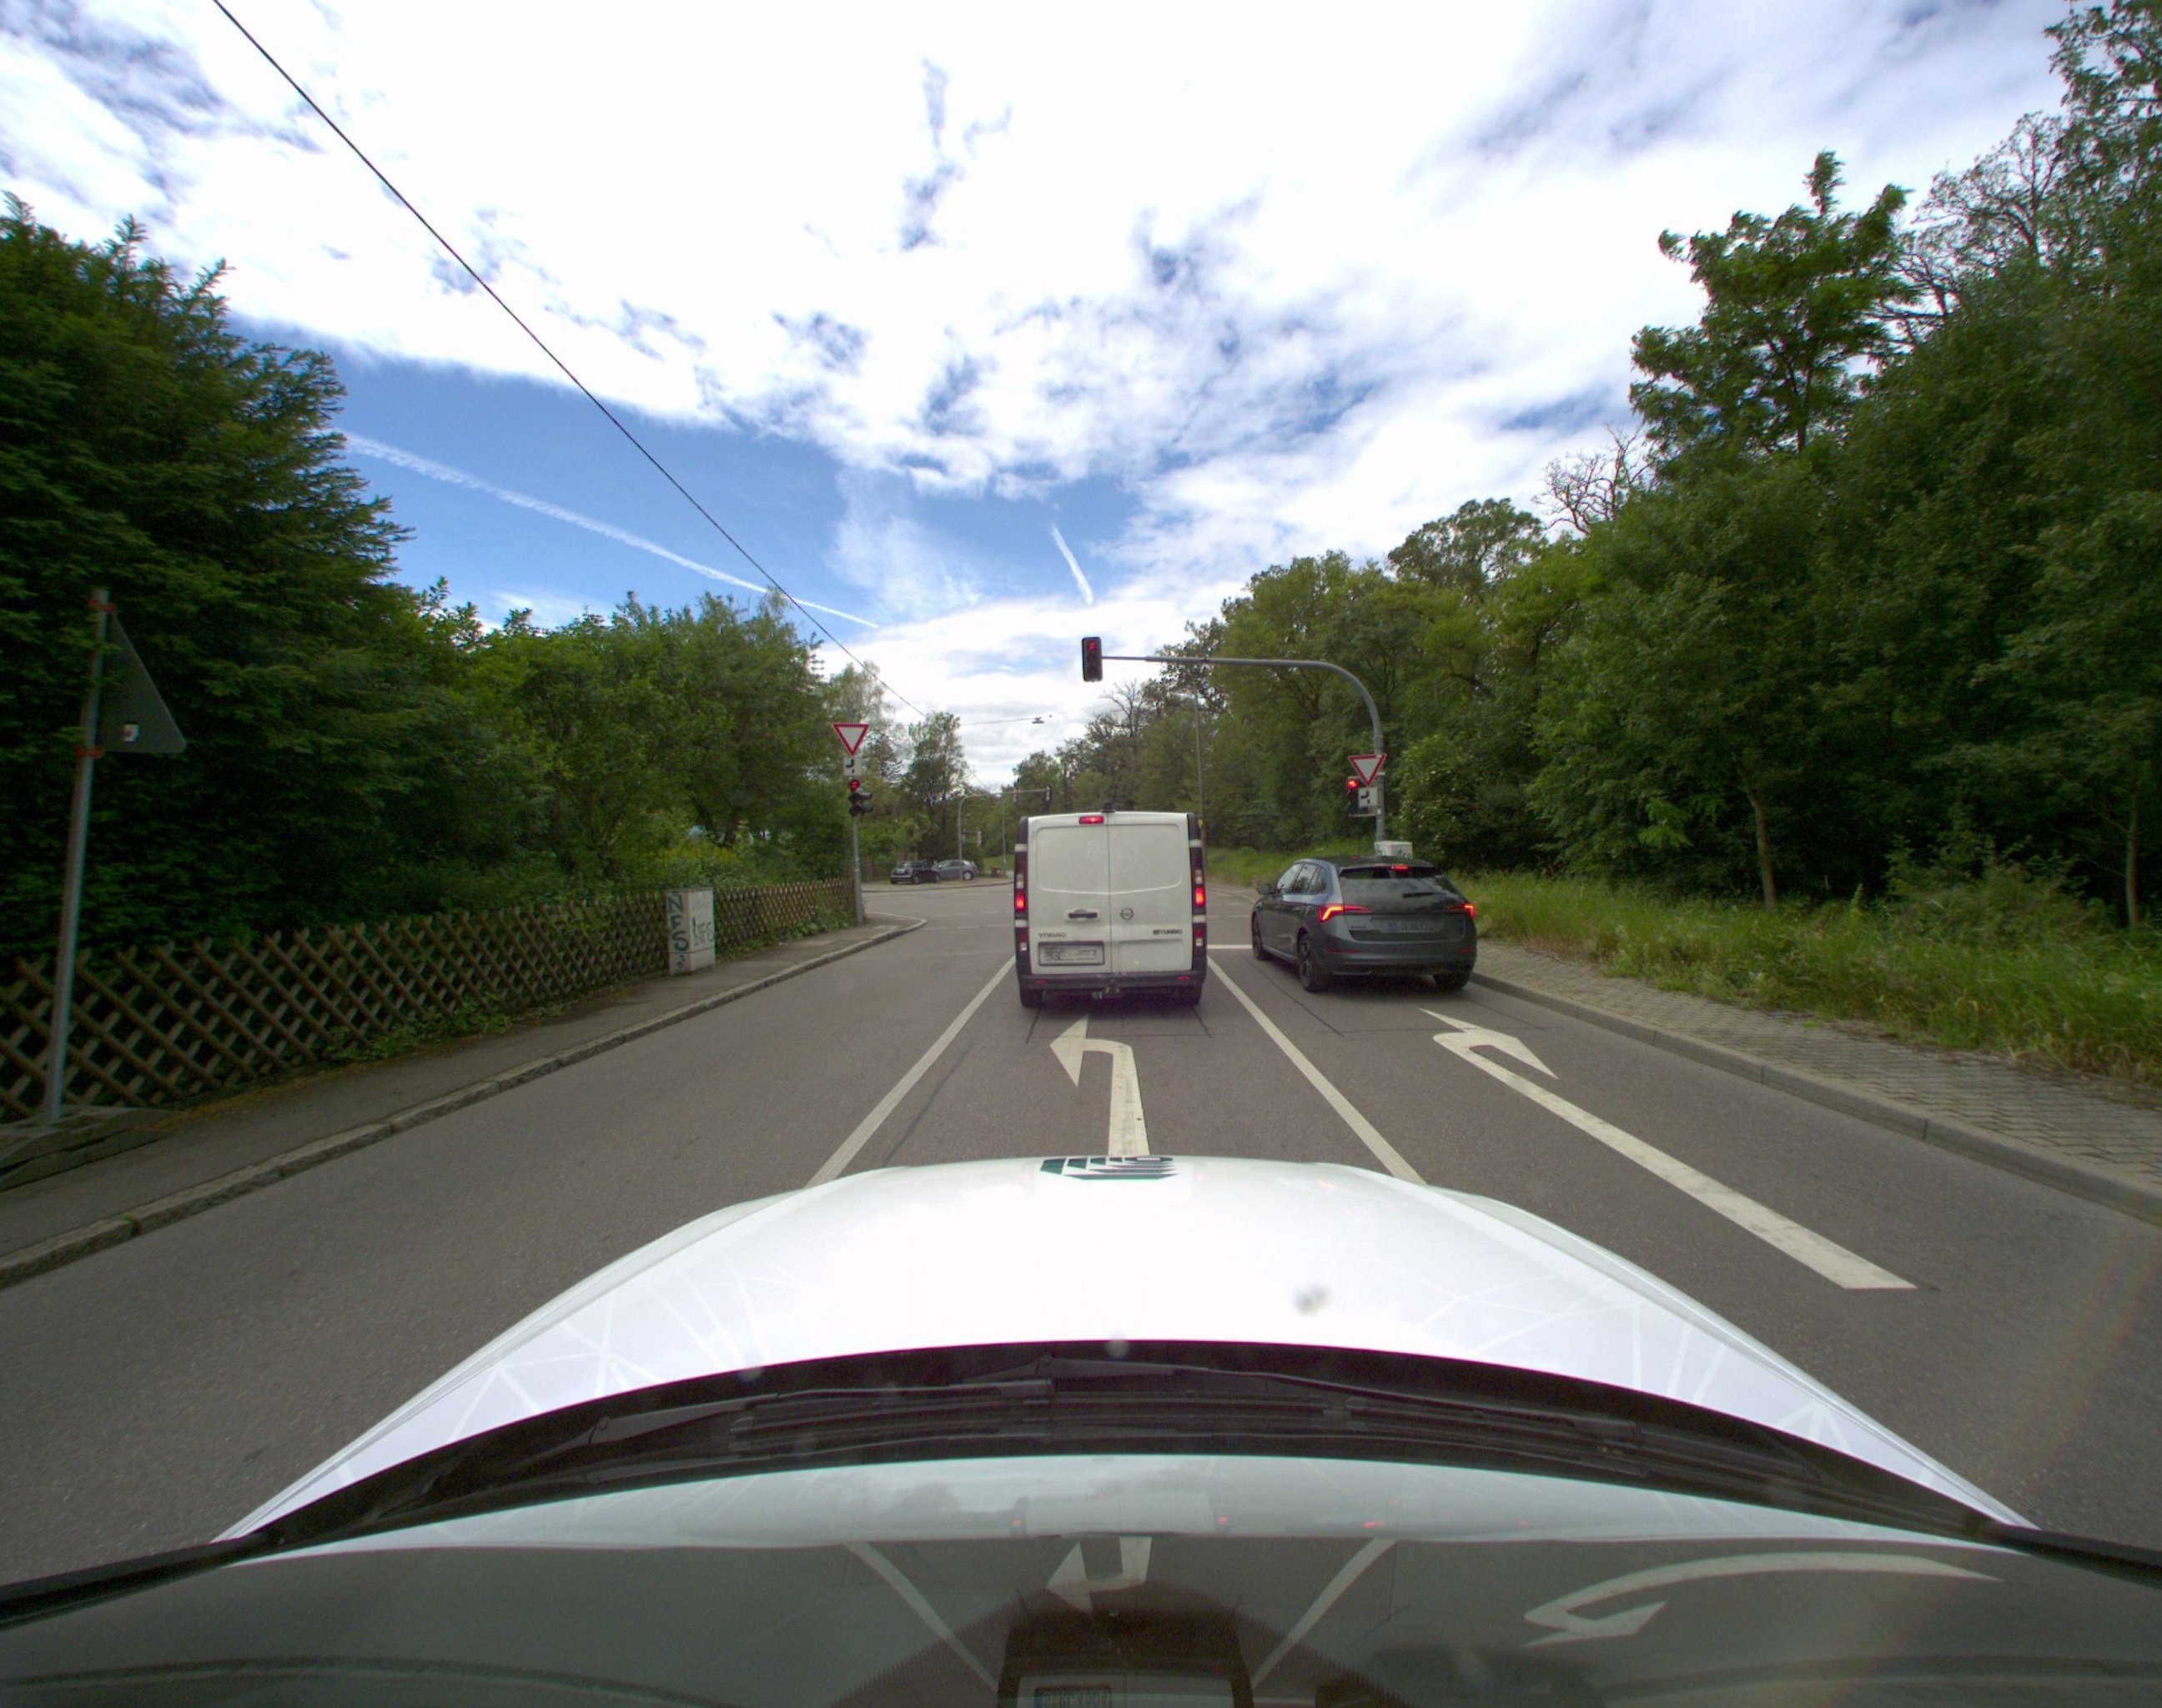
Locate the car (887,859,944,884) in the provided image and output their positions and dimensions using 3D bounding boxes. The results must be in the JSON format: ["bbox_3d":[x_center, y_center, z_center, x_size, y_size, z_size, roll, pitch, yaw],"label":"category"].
[{"bbox_3d":[-10.010,1.038,49.393,1.683,1.449,3.562,1,0,22],"label":"car"}]

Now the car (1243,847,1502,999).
[{"bbox_3d":[3.278,0.682,10.049,1.786,1.450,4.000,-2,0,1],"label":"car"}]

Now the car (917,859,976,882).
[{"bbox_3d":[-9.876,1.178,59.603,4.094,1.553,1.845,-2,0,-16],"label":"car"}]

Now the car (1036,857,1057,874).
[{"bbox_3d":[-3.170,1.034,74.529,1.852,1.507,3.996,-2,0,-2],"label":"car"}]

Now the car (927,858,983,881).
[{"bbox_3d":[-9.703,1.175,62.779,4.094,1.553,1.845,-2,0,-16],"label":"car"}]

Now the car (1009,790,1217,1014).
[{"bbox_3d":[0.290,0.433,9.795,1.910,2.053,4.613,0,0,0],"label":"car"}]
